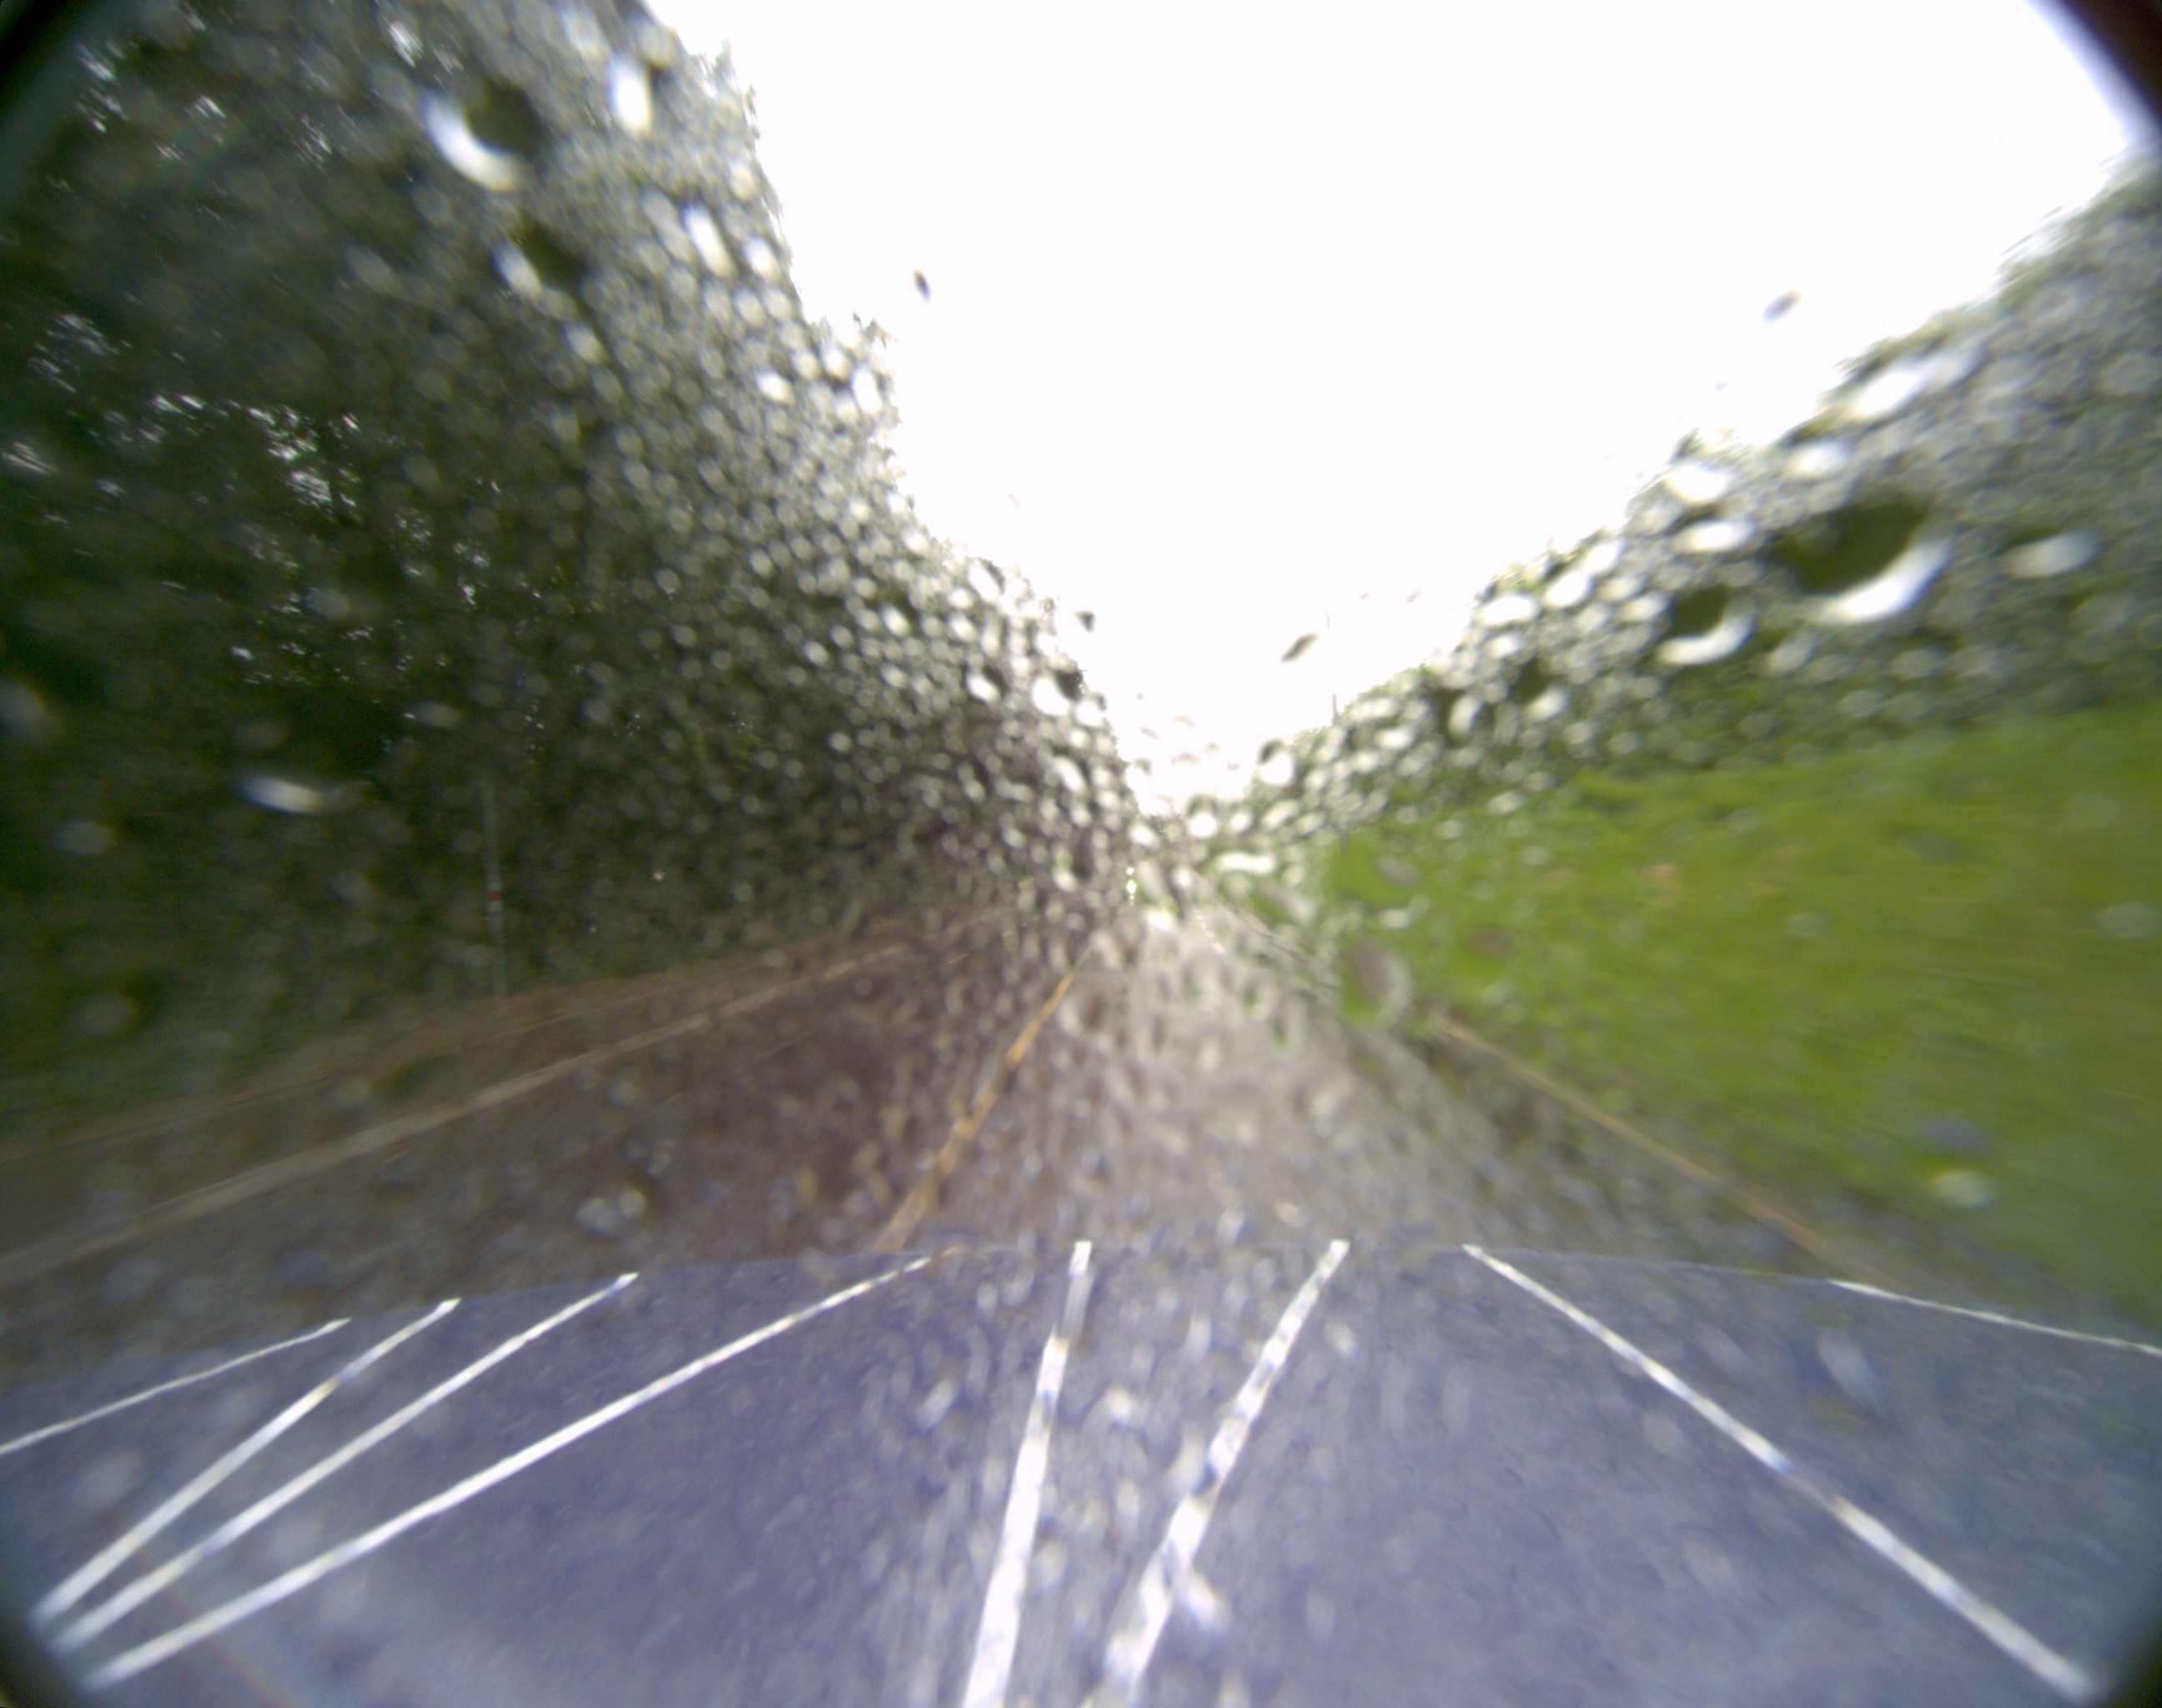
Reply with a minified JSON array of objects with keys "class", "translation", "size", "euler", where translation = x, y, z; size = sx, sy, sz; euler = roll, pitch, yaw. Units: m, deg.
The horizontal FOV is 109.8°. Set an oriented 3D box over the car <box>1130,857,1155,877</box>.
[{"class":"car","translation":[5.081,1.075,62.306],"size":[1.798,1.543,4.002],"euler":[-1,0,8]}]
